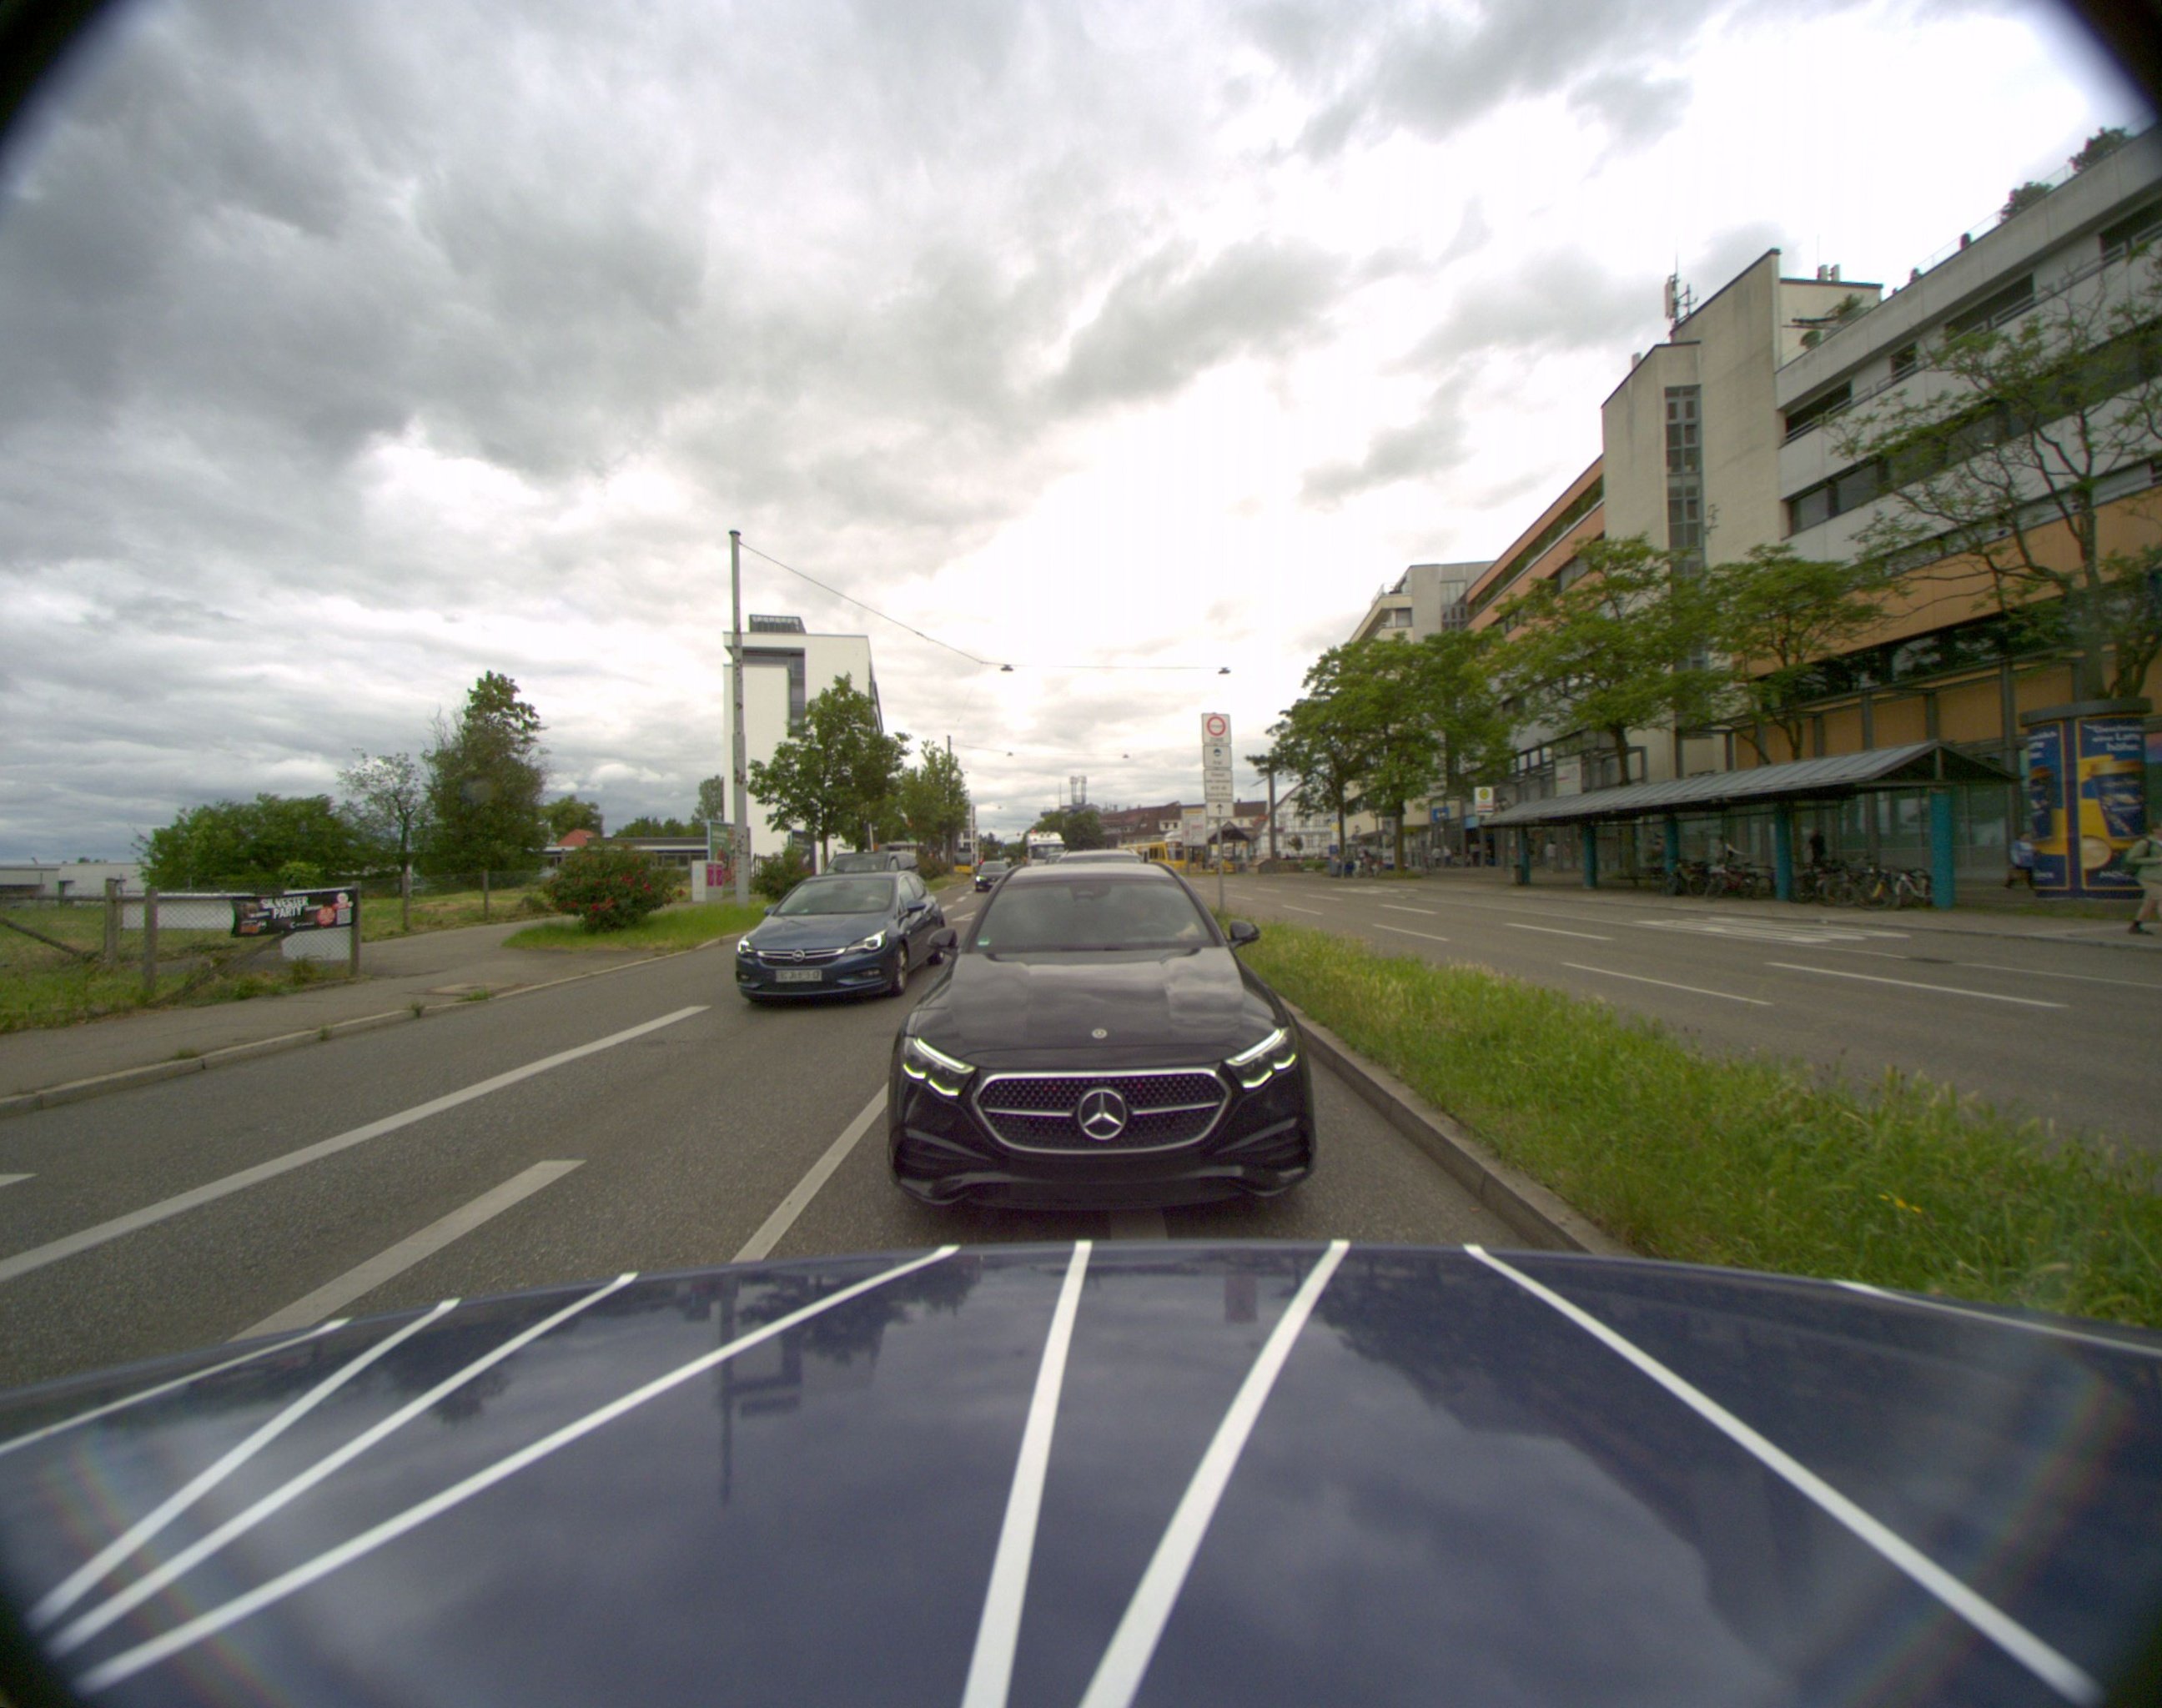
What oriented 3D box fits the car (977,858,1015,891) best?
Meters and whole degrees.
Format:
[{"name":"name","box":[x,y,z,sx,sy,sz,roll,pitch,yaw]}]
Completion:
[{"name":"car","box":[-4.226,0.986,37.862,1.736,1.474,4.366,-2,0,-6]}]

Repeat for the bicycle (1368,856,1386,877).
[{"name":"bicycle","box":[16.169,0.675,41.526,0.603,1.154,1.693,-1,-1,31]}]

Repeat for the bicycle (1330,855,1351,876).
[{"name":"bicycle","box":[14.799,0.649,43.315,0.603,1.154,1.969,-3,-1,33]}]

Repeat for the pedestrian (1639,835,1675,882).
[{"name":"pedestrian","box":[21.489,0.154,28.357,0.774,1.706,0.787,-3,1,17]}]

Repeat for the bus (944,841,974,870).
[{"name":"bus","box":[-14.565,0.280,90.272,3.047,3.216,9.329,-1,-1,-12]}]

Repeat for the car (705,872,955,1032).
[{"name":"car","box":[-2.910,1.043,9.887,1.735,1.474,4.369,-2,0,0]}]

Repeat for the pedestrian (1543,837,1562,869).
[{"name":"pedestrian","box":[23.881,-0.041,38.500,0.633,1.591,0.623,-3,1,18]}]

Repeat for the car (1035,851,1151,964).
[{"name":"car","box":[0.192,0.836,13.935,1.735,1.680,4.369,-2,0,0]}]

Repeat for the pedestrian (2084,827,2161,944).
[{"name":"pedestrian","box":[17.306,0.492,12.215,0.705,1.812,1.213,-3,1,-3]}]

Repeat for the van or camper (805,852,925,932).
[{"name":"van or camper","box":[-5.680,0.921,20.651,1.809,1.867,4.849,-2,0,0]}]

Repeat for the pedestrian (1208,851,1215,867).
[{"name":"pedestrian","box":[13.363,0.524,77.787,0.601,1.564,0.620,-1,0,-10]}]

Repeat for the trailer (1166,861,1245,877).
[{"name":"trailer","box":[11.017,1.318,68.963,2.851,1.325,12.115,-1,-1,-12]}]

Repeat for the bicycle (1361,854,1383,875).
[{"name":"bicycle","box":[16.450,0.611,42.966,0.604,1.154,1.966,-1,-1,4]}]

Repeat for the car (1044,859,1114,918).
[{"name":"car","box":[-0.043,0.903,21.758,1.735,1.474,4.369,-2,0,0]}]

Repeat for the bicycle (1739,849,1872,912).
[{"name":"bicycle","box":[18.313,0.643,19.223,2.908,1.498,0.805,-1,0,-8]}]

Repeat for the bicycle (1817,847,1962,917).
[{"name":"bicycle","box":[18.385,0.611,17.294,2.908,1.498,0.700,-1,0,-8]}]

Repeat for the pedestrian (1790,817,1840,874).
[{"name":"pedestrian","box":[26.511,-0.306,27.446,0.898,2.002,0.934,-1,1,-4]}]

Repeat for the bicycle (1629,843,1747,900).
[{"name":"bicycle","box":[17.987,0.498,22.534,2.908,1.498,0.972,-3,0,-8]}]

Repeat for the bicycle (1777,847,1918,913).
[{"name":"bicycle","box":[18.378,0.609,18.237,2.908,1.498,0.778,-1,0,-8]}]

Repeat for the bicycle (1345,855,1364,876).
[{"name":"bicycle","box":[15.341,0.657,42.617,0.603,1.154,1.969,-1,-1,32]}]

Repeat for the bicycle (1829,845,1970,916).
[{"name":"bicycle","box":[18.412,0.581,17.094,2.908,1.498,0.598,-1,0,-8]}]

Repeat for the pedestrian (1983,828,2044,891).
[{"name":"pedestrian","box":[24.086,0.139,19.635,0.668,1.574,0.706,-3,1,-6]}]

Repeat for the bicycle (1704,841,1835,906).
[{"name":"bicycle","box":[18.173,0.506,20.084,2.908,1.498,0.811,-4,0,-7]}]

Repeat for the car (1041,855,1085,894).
[{"name":"car","box":[-0.724,0.843,32.896,1.735,1.544,4.369,-2,0,0]}]

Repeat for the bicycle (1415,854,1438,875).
[{"name":"bicycle","box":[19.214,0.564,42.236,0.672,1.154,2.023,-1,-1,39]}]

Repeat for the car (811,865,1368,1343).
[{"name":"car","box":[-0.027,0.910,5.079,1.873,1.542,4.773,-4,-1,-2]}]

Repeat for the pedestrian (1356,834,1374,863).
[{"name":"pedestrian","box":[18.632,-0.358,49.844,0.747,1.866,0.873,-1,0,-8]}]

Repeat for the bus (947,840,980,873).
[{"name":"bus","box":[-12.648,0.305,81.071,2.993,3.222,9.856,-1,0,-12]}]

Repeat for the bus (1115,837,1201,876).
[{"name":"bus","box":[8.056,0.355,84.512,3.891,3.836,19.323,-1,-1,-12]}]

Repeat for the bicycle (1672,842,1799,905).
[{"name":"bicycle","box":[18.033,0.524,20.944,2.908,1.498,0.891,-4,1,-8]}]
